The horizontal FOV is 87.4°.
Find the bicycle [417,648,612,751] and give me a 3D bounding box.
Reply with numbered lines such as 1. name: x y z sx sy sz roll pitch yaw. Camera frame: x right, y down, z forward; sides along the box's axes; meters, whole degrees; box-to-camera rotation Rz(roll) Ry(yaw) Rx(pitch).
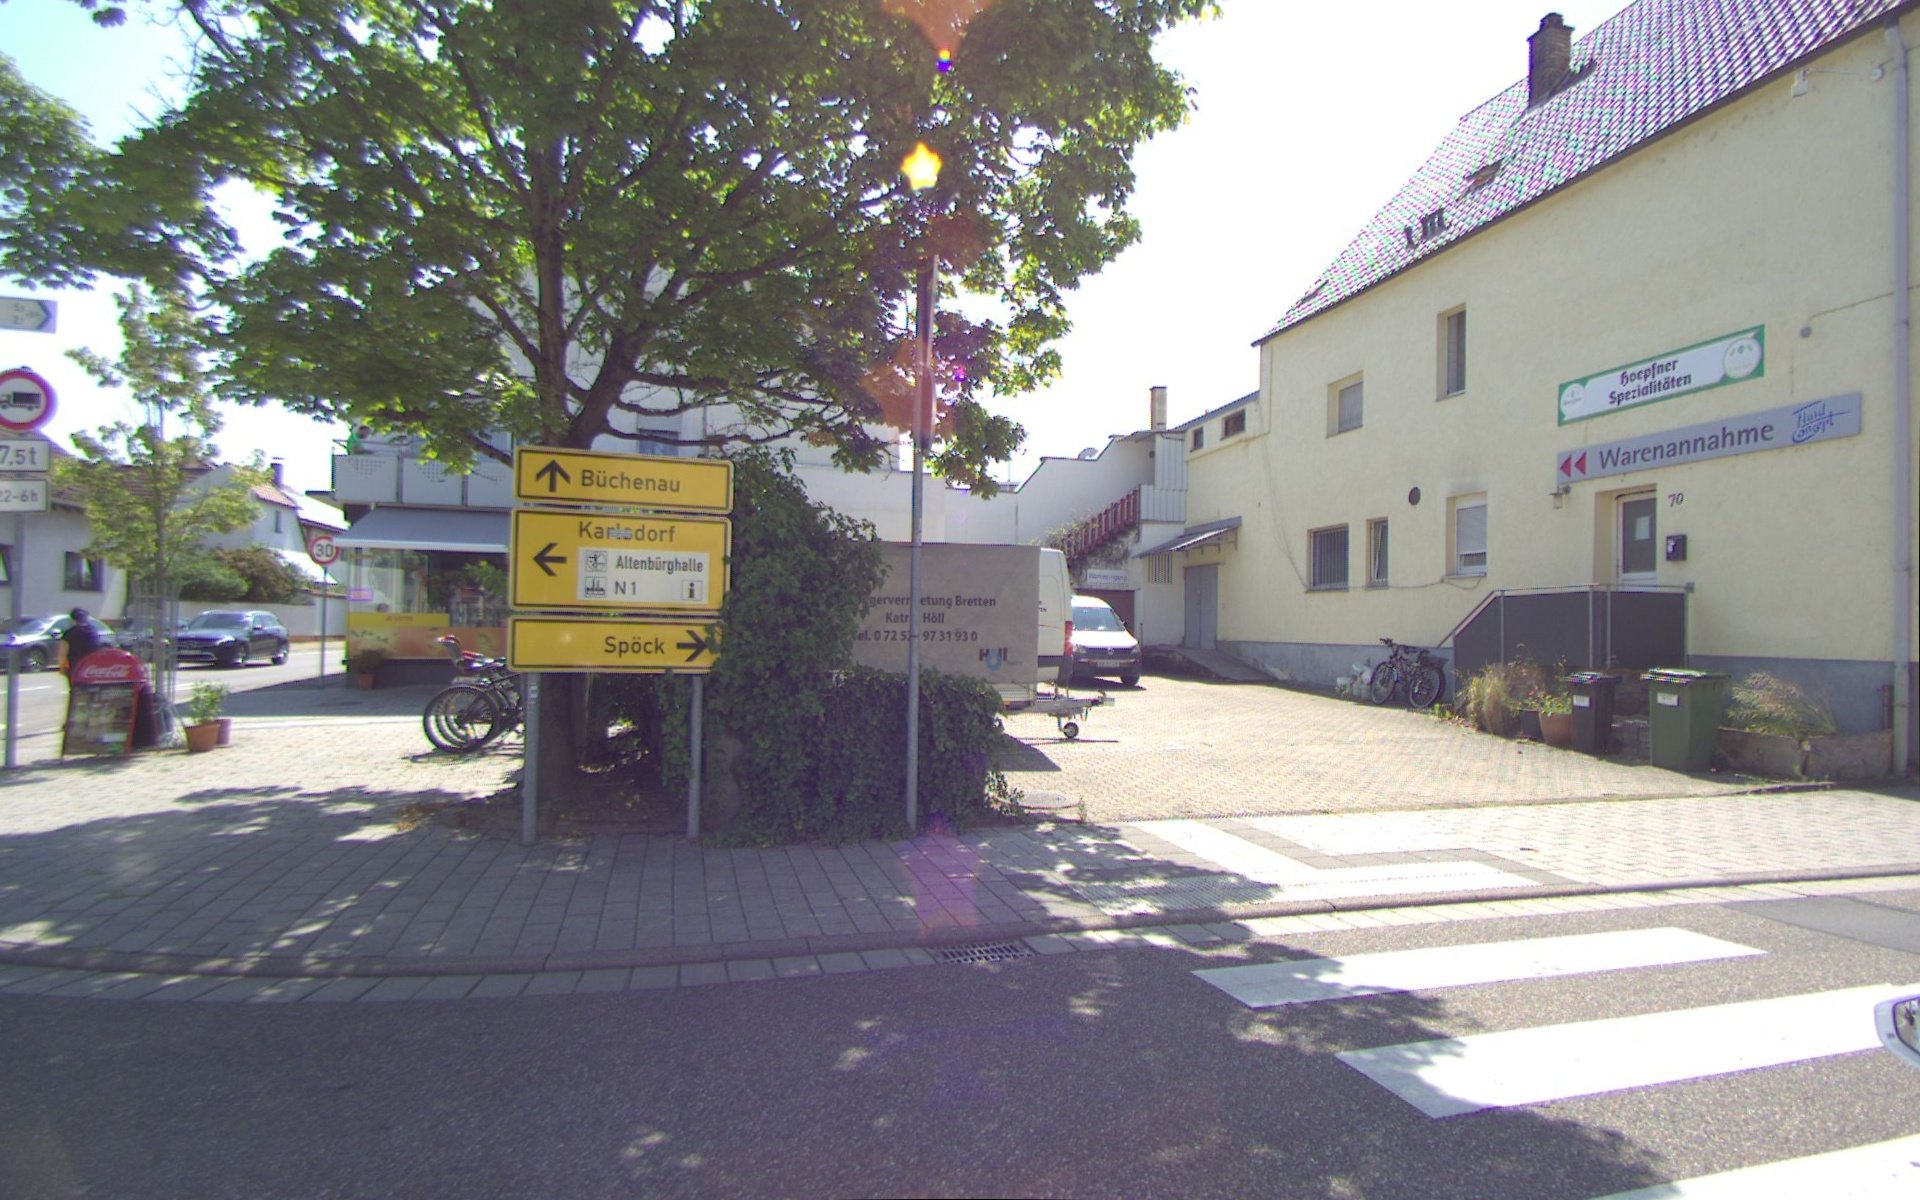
1. bicycle: -4.963 1.082 11.260 1.957 1.017 0.398 -1 0 -28

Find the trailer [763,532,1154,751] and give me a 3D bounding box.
1. trailer: -0.080 0.491 12.354 4.448 2.367 1.879 1 0 -15

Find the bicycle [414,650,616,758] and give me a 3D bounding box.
1. bicycle: -4.768 1.089 10.851 1.957 1.017 0.398 -1 0 -28

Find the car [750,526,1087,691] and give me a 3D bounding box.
1. car: -0.764 0.187 17.499 5.553 2.601 1.937 1 0 -15

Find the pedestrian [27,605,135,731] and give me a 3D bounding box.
1. pedestrian: -11.768 0.880 13.460 0.736 1.610 0.879 -1 -1 27

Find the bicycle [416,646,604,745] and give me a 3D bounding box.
1. bicycle: -5.184 1.074 11.651 1.957 1.017 0.398 -1 0 -28

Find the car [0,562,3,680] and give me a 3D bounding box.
1. car: -21.699 0.366 19.237 2.075 2.606 5.674 0 -2 -11

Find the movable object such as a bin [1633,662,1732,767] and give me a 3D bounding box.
1. movable object such as a bin: 7.903 1.236 11.002 0.647 1.093 0.600 1 -1 -13

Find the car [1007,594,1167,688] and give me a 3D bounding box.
1. car: 2.583 0.793 21.711 1.873 1.783 4.568 2 0 -14

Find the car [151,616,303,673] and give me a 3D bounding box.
1. car: -20.936 1.222 28.916 1.847 1.369 4.407 2 0 -12

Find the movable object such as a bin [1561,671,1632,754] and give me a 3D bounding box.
1. movable object such as a bin: 7.571 1.325 11.964 0.537 0.940 0.479 1 -1 -13

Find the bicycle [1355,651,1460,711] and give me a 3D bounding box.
1. bicycle: 7.653 1.363 17.300 0.533 0.925 2.173 1 -2 -10

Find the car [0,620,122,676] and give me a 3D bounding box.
1. car: -24.075 1.194 26.096 1.754 1.261 3.967 1 0 -9

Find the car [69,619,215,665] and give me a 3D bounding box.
1. car: -25.425 1.276 31.409 1.754 1.261 3.967 1 0 -9
